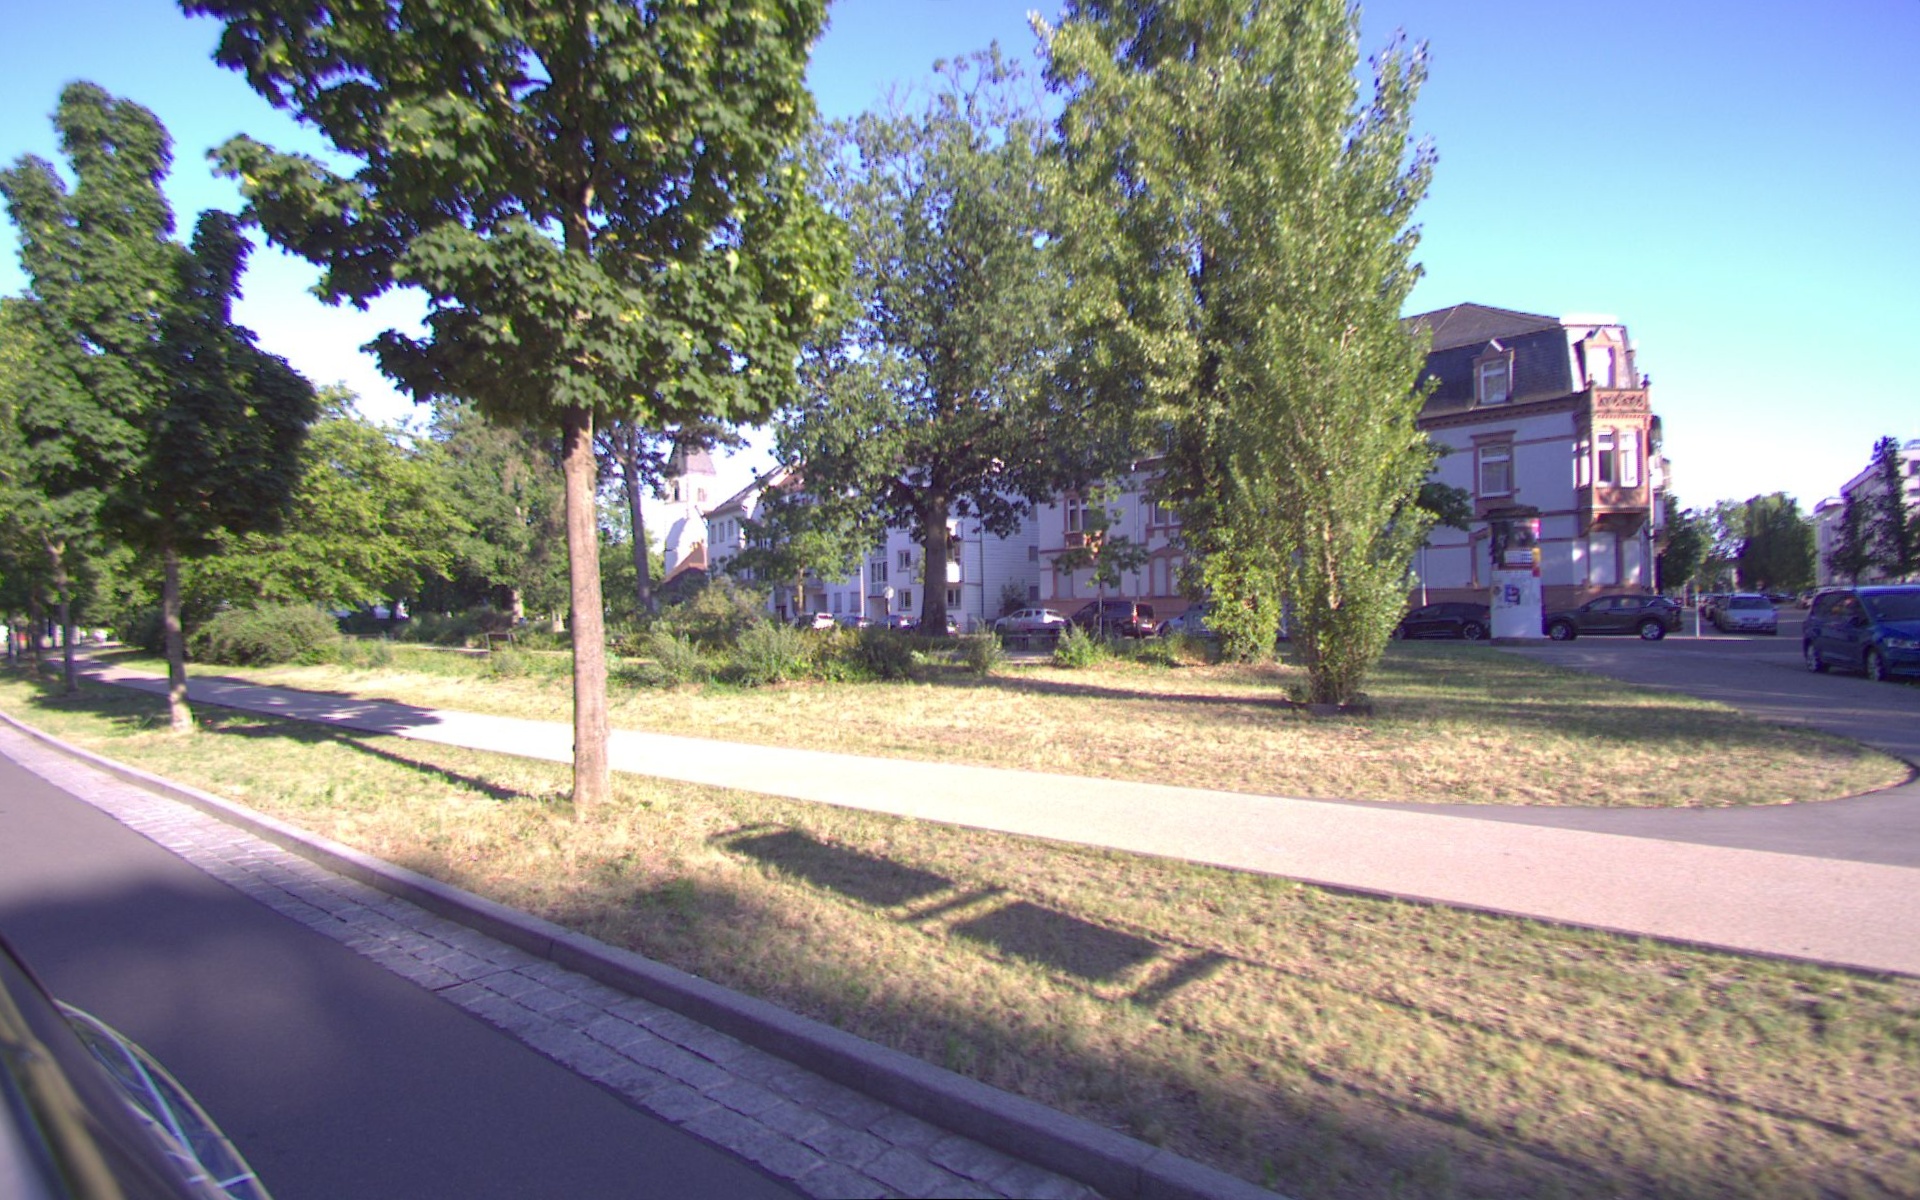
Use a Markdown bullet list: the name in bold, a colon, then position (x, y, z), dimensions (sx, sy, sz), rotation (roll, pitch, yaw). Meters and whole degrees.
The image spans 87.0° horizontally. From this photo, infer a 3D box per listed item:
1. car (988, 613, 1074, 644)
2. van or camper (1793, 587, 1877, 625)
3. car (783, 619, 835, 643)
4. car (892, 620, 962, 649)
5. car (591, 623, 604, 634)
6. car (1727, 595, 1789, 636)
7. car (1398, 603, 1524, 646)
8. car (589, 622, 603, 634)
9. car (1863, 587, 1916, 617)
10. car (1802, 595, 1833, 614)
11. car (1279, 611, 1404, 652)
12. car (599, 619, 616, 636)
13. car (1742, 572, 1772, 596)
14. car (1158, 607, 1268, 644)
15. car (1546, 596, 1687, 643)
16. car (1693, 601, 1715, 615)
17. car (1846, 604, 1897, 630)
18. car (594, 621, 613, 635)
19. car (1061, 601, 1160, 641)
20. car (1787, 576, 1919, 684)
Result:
- **car**: position (3.848, 1.513, 55.327), dimensions (4.601, 1.586, 1.863), rotation (0, 0, 45)
- **van or camper**: position (62.582, 0.410, 72.510), dimensions (2.060, 2.570, 6.047), rotation (0, 0, 15)
- **car**: position (-11.063, 2.239, 73.880), dimensions (1.860, 1.586, 4.610), rotation (0, 0, -36)
- **car**: position (-2.082, 2.086, 62.368), dimensions (1.861, 1.586, 4.606), rotation (0, 0, -40)
- **car**: position (-55.292, 4.386, 154.504), dimensions (1.858, 1.586, 4.614), rotation (0, 0, -20)
- **car**: position (32.204, 0.606, 40.872), dimensions (1.889, 1.586, 3.948), rotation (0, 0, 38)
- **car**: position (19.337, 0.898, 39.151), dimensions (1.863, 1.586, 4.003), rotation (0, 0, -44)
- **car**: position (-53.231, 4.121, 148.010), dimensions (1.858, 1.586, 4.614), rotation (0, 0, -21)
- **car**: position (51.634, 0.098, 56.272), dimensions (1.889, 1.586, 3.948), rotation (0, 0, 39)
- **car**: position (75.479, 0.408, 89.116), dimensions (1.889, 1.586, 3.948), rotation (0, 0, 39)
- **car**: position (15.944, 1.257, 42.445), dimensions (4.599, 1.586, 1.864), rotation (0, 0, 43)
- **car**: position (-47.759, 3.737, 137.016), dimensions (1.858, 2.142, 4.614), rotation (0, 0, -24)
- **car**: position (71.266, -1.395, 90.559), dimensions (1.997, 2.029, 3.949), rotation (-2, -1, 38)
- **car**: position (11.552, 1.110, 46.439), dimensions (1.863, 1.586, 4.603), rotation (0, 0, -44)
- **car**: position (23.242, 0.646, 35.886), dimensions (3.997, 1.586, 1.866), rotation (0, 0, 40)
- **car**: position (85.787, 0.956, 116.657), dimensions (1.888, 1.586, 3.948), rotation (0, 0, 38)
- **car**: position (56.768, 1.022, 63.122), dimensions (1.887, 1.586, 3.952), rotation (0, 0, 35)
- **car**: position (-43.144, 3.398, 122.493), dimensions (1.858, 1.586, 4.614), rotation (0, 0, -24)
- **car**: position (7.558, 1.023, 51.156), dimensions (1.861, 1.908, 4.984), rotation (0, 0, -40)
- **car**: position (16.285, 0.477, 17.368), dimensions (1.826, 1.656, 4.249), rotation (-1, -1, 19)
